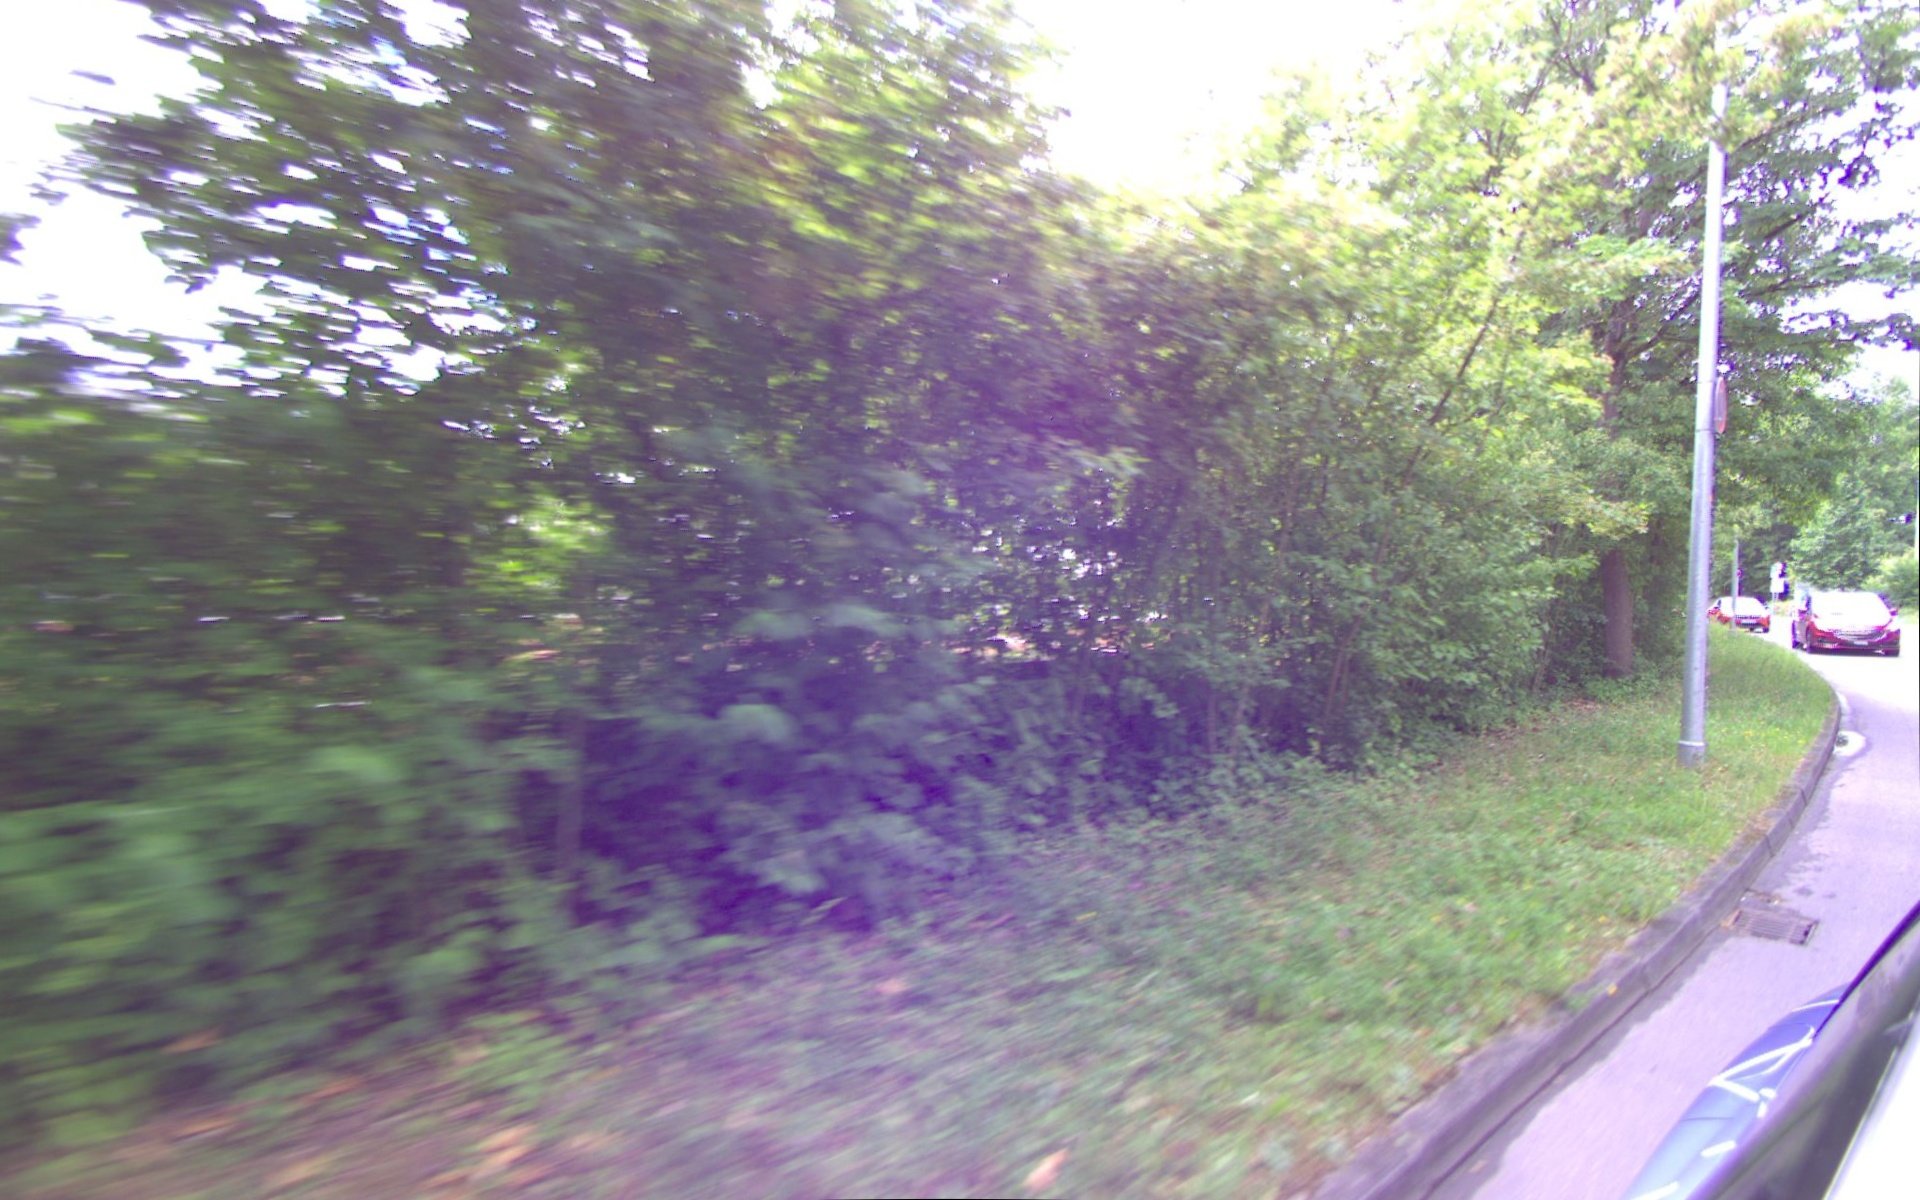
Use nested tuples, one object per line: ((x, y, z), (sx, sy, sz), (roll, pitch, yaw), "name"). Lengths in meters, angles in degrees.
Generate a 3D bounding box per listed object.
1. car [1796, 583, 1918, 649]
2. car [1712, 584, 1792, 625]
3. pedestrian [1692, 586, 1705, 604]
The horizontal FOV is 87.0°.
((24.327, 0.381, 27.602), (1.849, 1.638, 4.422), (1, 1, 33), "car")
((33.435, 0.160, 42.840), (1.983, 1.593, 3.960), (3, 2, 29), "car")
((68.688, -0.469, 94.120), (0.753, 1.683, 0.803), (3, 1, 22), "pedestrian")
